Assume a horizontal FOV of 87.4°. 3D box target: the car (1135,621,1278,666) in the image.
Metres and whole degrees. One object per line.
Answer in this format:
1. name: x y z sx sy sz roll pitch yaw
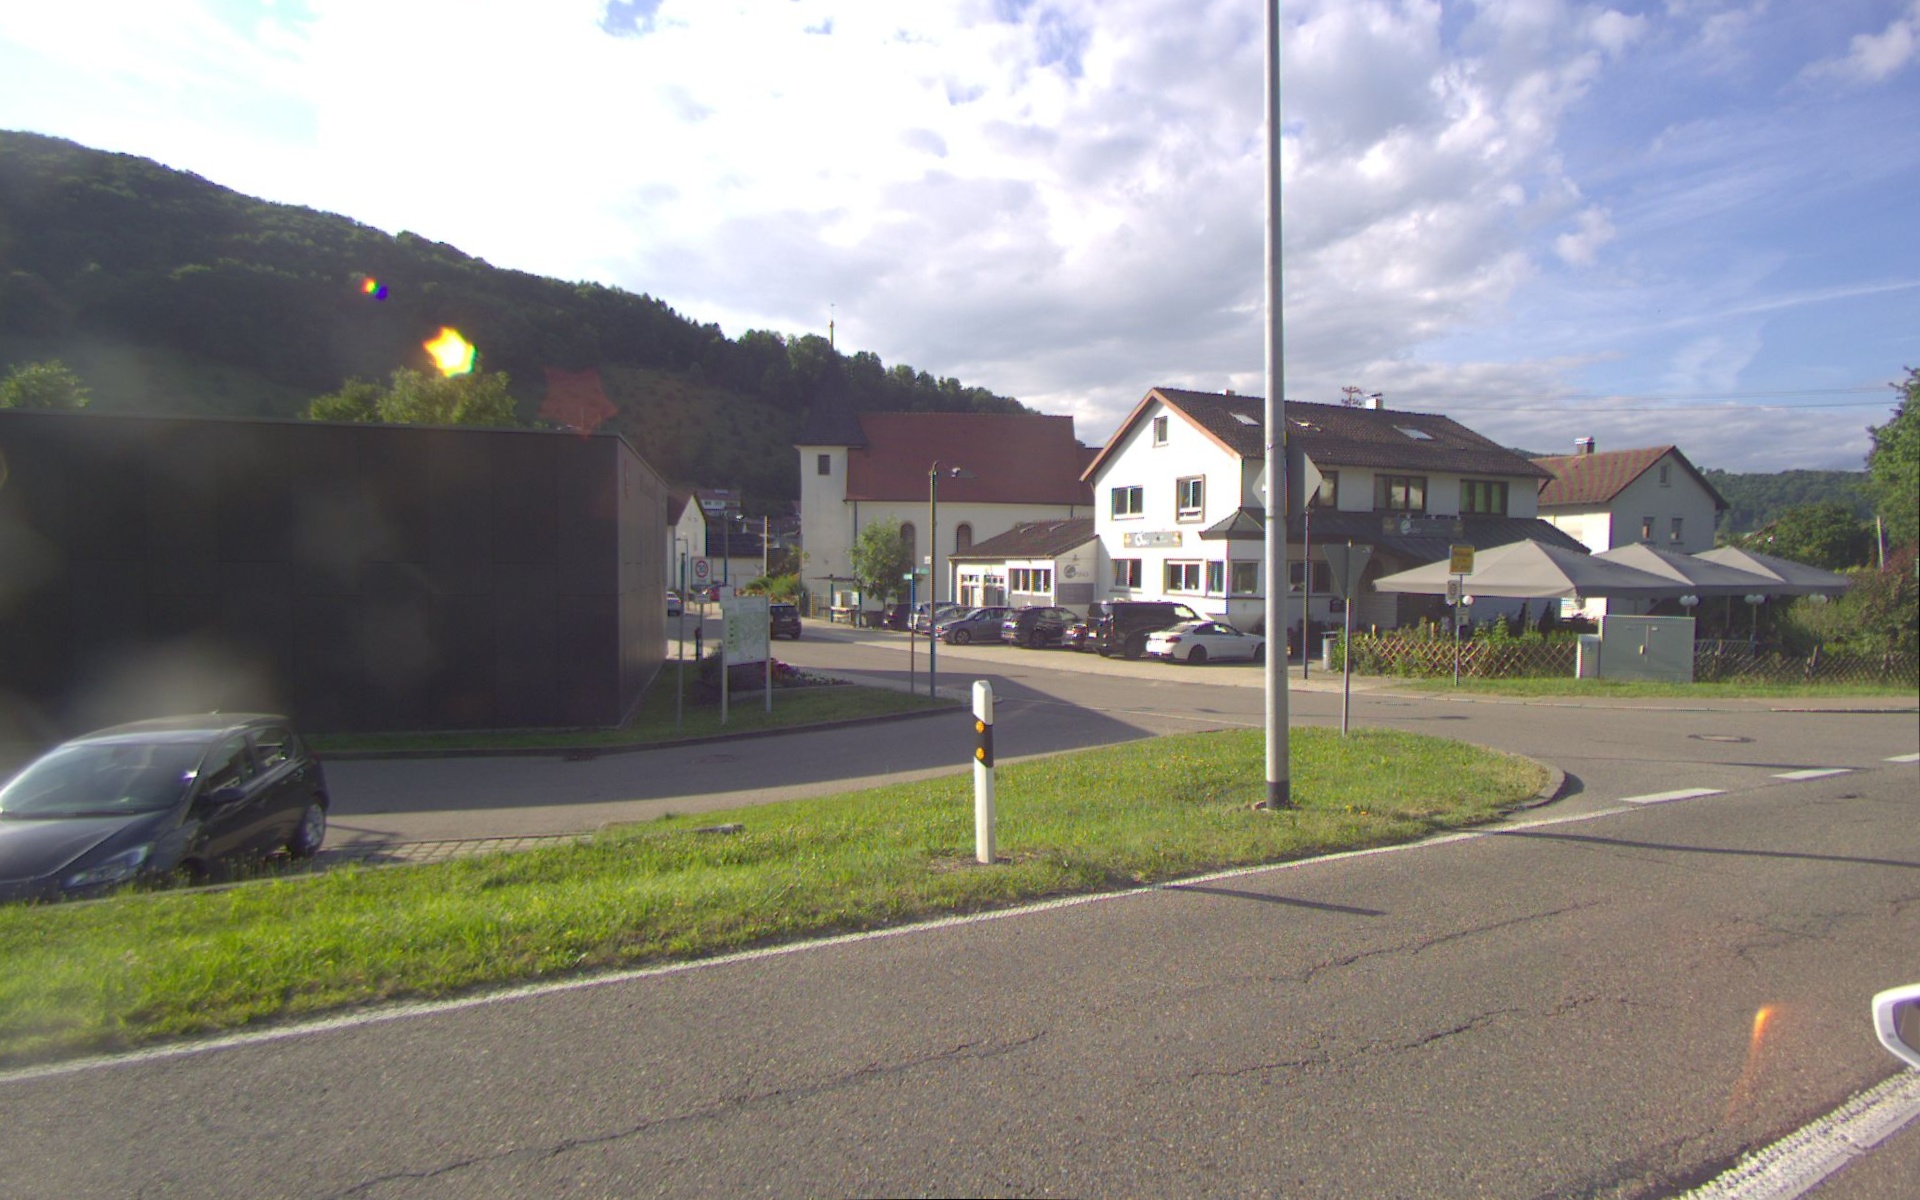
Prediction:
1. car: 8.297 1.418 33.754 4.518 1.408 1.986 1 -1 -28

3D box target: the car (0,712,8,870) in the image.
1. car: -9.653 1.816 7.350 1.881 1.517 4.640 1 -1 -15

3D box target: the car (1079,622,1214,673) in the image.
1. car: 6.679 1.654 35.914 4.518 1.707 1.986 1 -1 -28

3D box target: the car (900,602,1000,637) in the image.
1. car: -0.483 0.948 48.843 4.518 1.665 1.986 1 -1 -28

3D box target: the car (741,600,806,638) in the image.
1. car: -8.642 0.840 46.369 1.868 1.706 3.971 0 0 -28

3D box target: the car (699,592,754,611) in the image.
1. car: -18.952 0.123 81.644 1.972 1.528 3.977 1 0 43

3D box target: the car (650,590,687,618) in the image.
1. car: -18.433 0.251 63.412 1.760 1.706 3.977 1 -1 -24

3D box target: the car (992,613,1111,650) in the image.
1. car: 3.741 1.252 40.954 4.518 1.431 1.986 1 -1 -28

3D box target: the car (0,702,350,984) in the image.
1. car: -7.045 1.831 8.659 1.801 1.555 3.991 0 -1 -12

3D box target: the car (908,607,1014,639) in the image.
1. car: 0.069 1.066 46.248 4.518 1.431 1.986 1 -1 -28

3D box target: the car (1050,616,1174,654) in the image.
1. car: 5.927 1.342 39.064 4.518 1.408 1.986 1 -1 -28

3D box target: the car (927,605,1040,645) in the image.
1. car: 1.018 1.073 43.088 4.518 1.618 1.986 1 -1 -28
